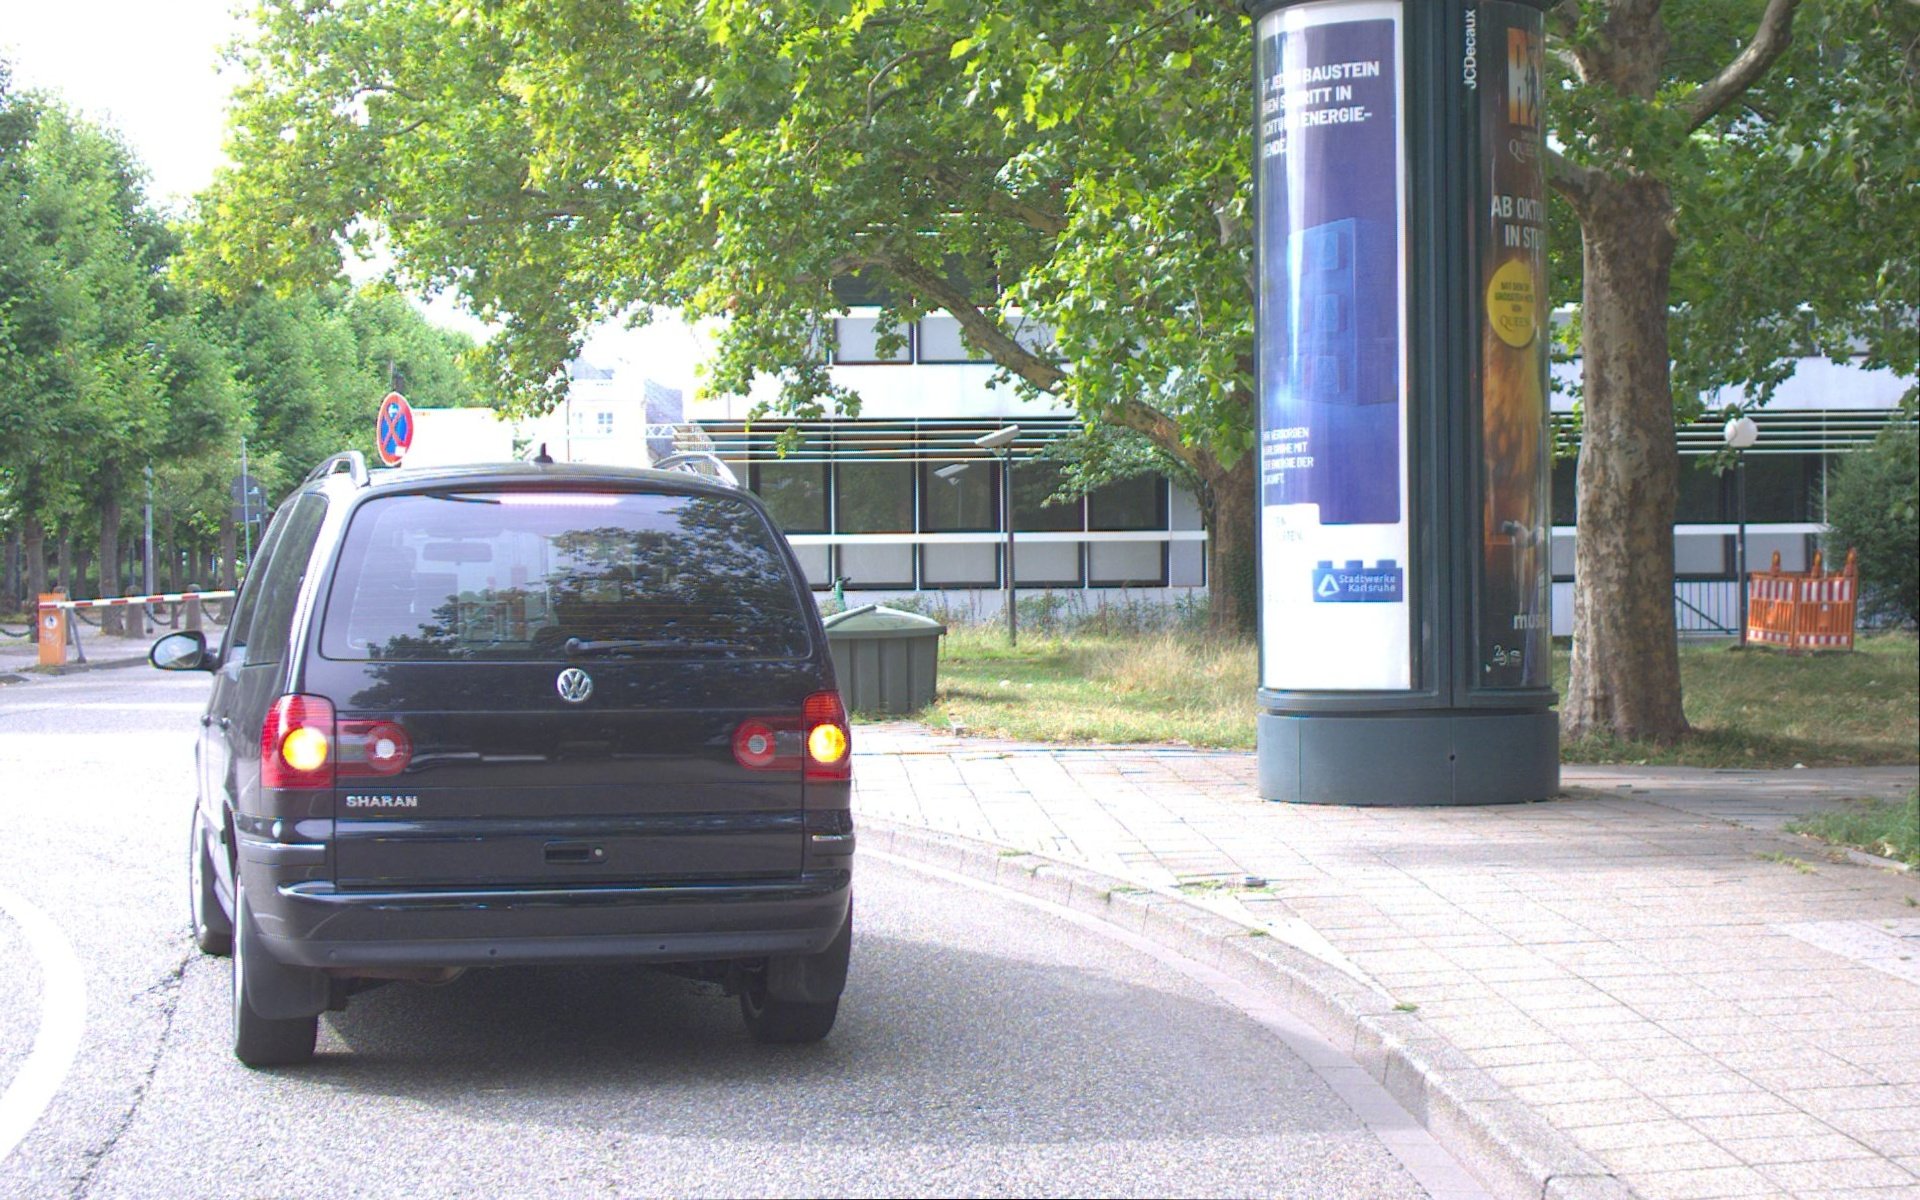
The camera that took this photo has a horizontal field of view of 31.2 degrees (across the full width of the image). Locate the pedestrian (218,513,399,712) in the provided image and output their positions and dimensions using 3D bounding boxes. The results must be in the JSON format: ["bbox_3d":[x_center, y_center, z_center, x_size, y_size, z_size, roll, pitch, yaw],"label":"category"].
[{"bbox_3d":[-5.861,0.101,30.948,0.962,1.735,1.253,2,1,37],"label":"pedestrian"}]

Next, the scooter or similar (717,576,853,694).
[{"bbox_3d":[-1.945,0.385,38.170,1.449,1.264,0.570,1,1,-6],"label":"scooter or similar"}]

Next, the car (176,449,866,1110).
[{"bbox_3d":[-1.586,0.430,11.107,1.793,1.702,4.132,-1,1,-12],"label":"car"}]

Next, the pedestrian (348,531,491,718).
[{"bbox_3d":[-4.840,0.210,30.793,0.897,1.635,0.851,2,1,34],"label":"pedestrian"}]
